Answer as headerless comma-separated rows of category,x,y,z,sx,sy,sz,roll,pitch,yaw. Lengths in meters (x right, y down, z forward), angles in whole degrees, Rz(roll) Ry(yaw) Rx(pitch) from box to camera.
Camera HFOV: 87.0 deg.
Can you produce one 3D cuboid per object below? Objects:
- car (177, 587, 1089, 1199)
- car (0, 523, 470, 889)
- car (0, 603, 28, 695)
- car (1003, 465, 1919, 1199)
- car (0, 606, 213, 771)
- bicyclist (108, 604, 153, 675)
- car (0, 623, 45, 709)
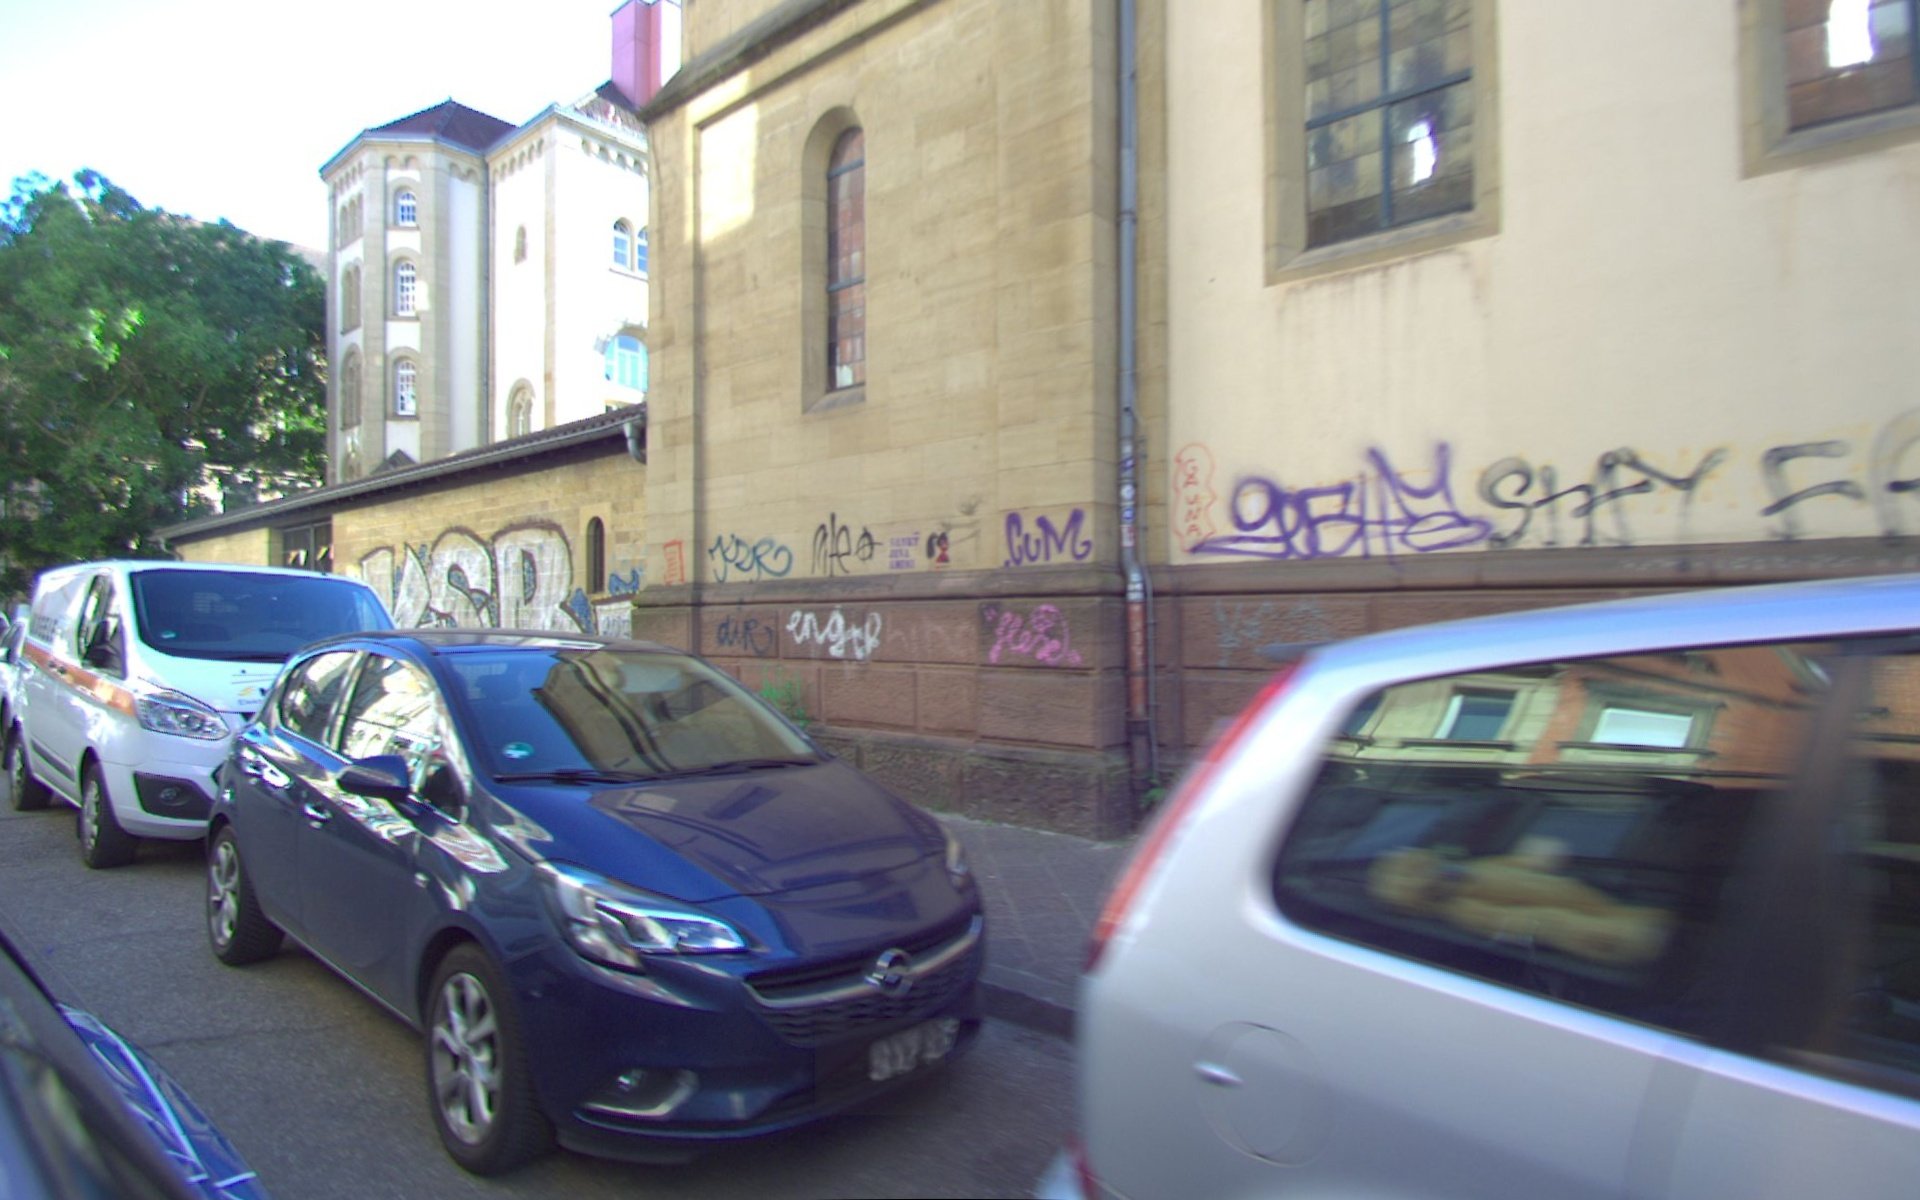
car,-1.586,0.776,3.994,3.948,1.463,1.598,-2,-3,41
car,-5.710,0.649,7.680,4.607,1.972,1.845,-1,-3,40
car,-21.558,1.047,21.742,4.463,1.876,1.826,-2,-2,42
car,2.110,0.677,0.783,3.997,1.570,1.656,-1,-3,40
car,-10.222,0.898,11.733,3.867,1.598,1.724,-1,-1,41
bicyclist,-21.333,1.003,26.031,0.795,1.736,0.693,-3,2,-41
car,-18.215,1.168,18.499,3.857,1.488,1.670,-2,-4,40
